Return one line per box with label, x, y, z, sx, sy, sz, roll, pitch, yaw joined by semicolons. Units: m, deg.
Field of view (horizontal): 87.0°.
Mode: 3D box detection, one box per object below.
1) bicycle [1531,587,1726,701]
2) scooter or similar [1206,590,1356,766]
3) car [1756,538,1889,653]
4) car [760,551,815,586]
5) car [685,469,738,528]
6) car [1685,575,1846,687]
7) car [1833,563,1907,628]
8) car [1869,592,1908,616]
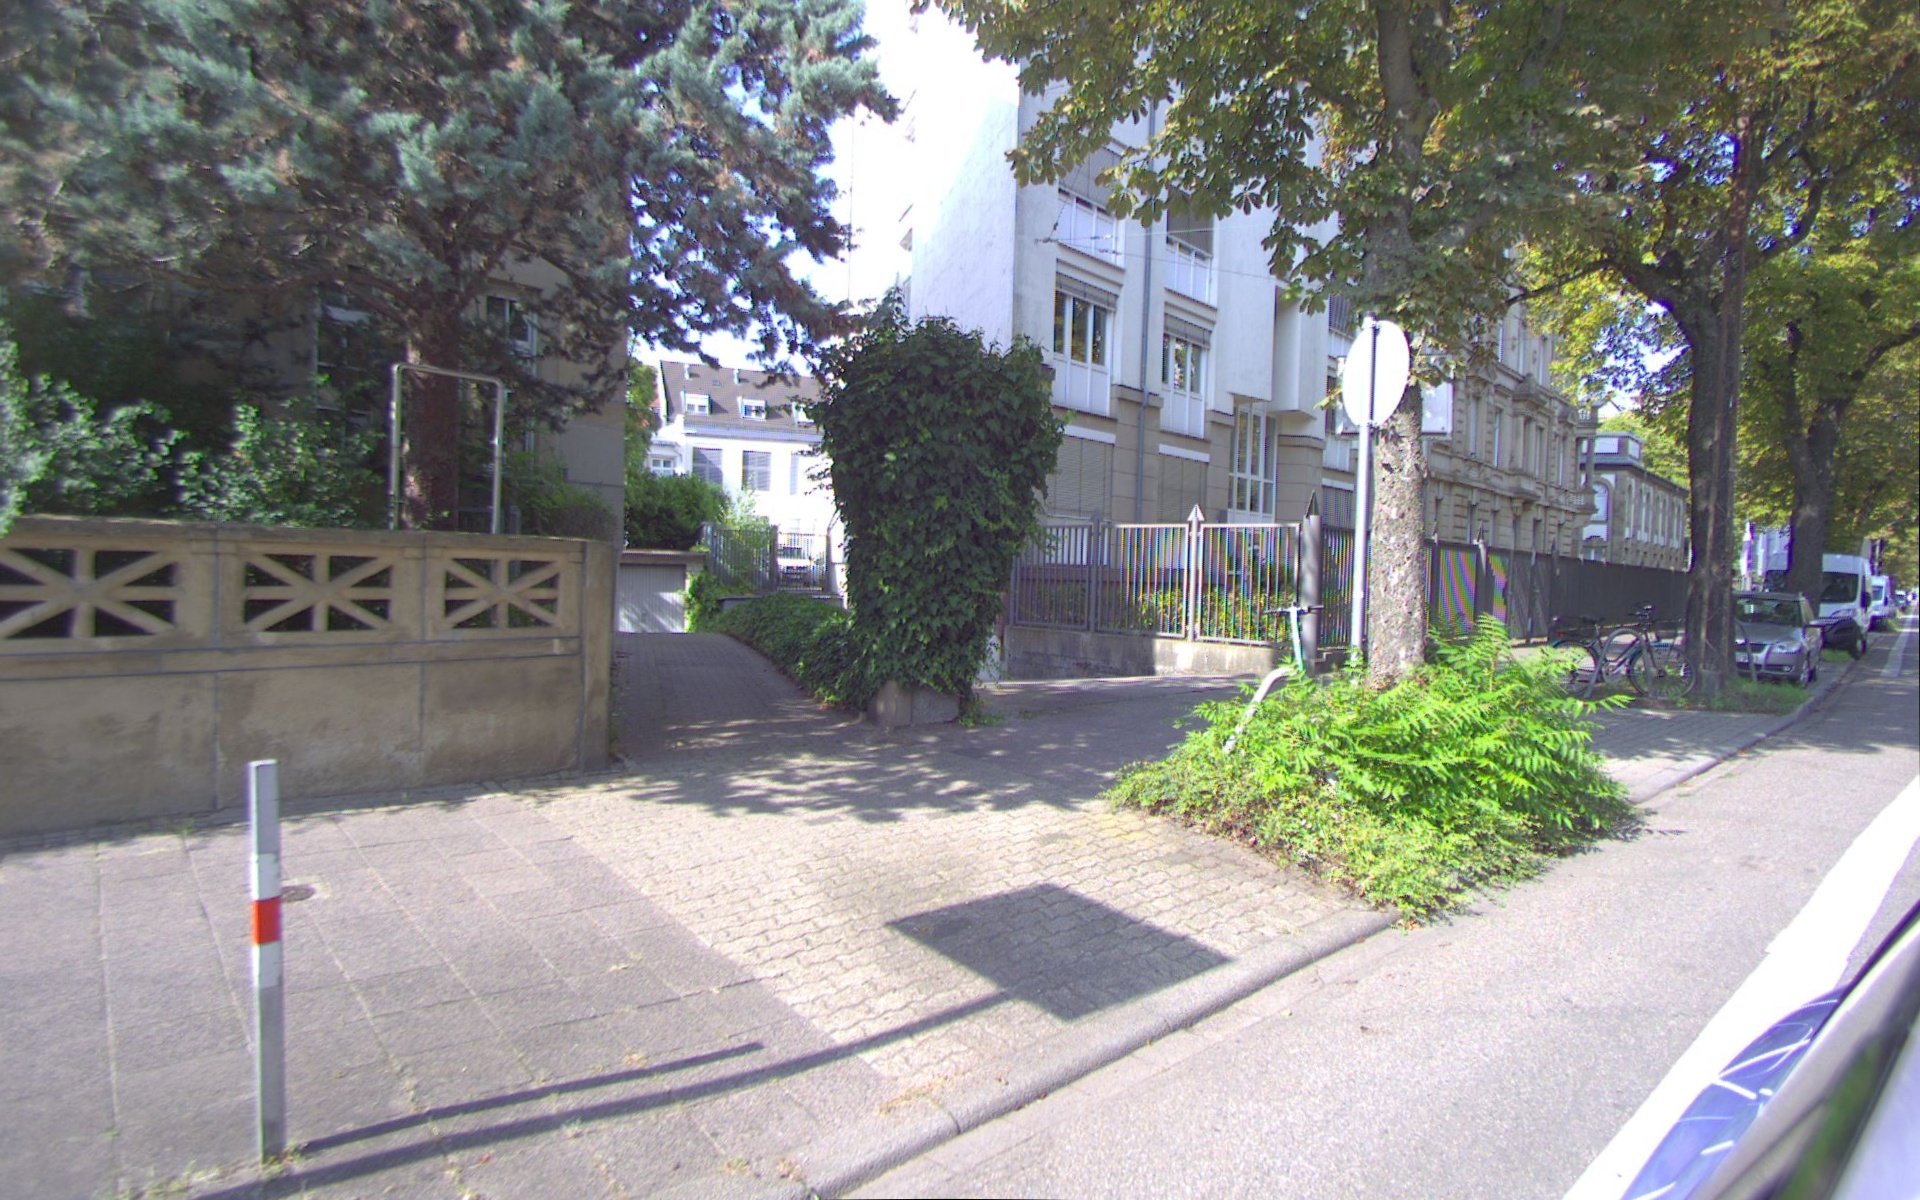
bicycle;8.015;0.519;12.194;1.810;1.179;0.505;4;7;5
scooter or similar;2.463;0.552;7.744;1.016;1.211;0.559;0;5;-40
car;21.792;-0.158;25.451;2.047;2.529;6.129;4;3;44
car;-8.173;-1.505;47.592;1.797;1.585;4.010;1;2;-20
car;-12.800;-5.121;51.923;1.958;2.689;4.992;1;2;-21
car;13.737;0.437;17.167;1.608;1.542;4.288;7;6;44
car;40.172;-0.228;44.613;1.995;2.571;5.773;6;4;45
car;59.430;0.237;64.801;1.753;1.373;3.729;3;3;43
